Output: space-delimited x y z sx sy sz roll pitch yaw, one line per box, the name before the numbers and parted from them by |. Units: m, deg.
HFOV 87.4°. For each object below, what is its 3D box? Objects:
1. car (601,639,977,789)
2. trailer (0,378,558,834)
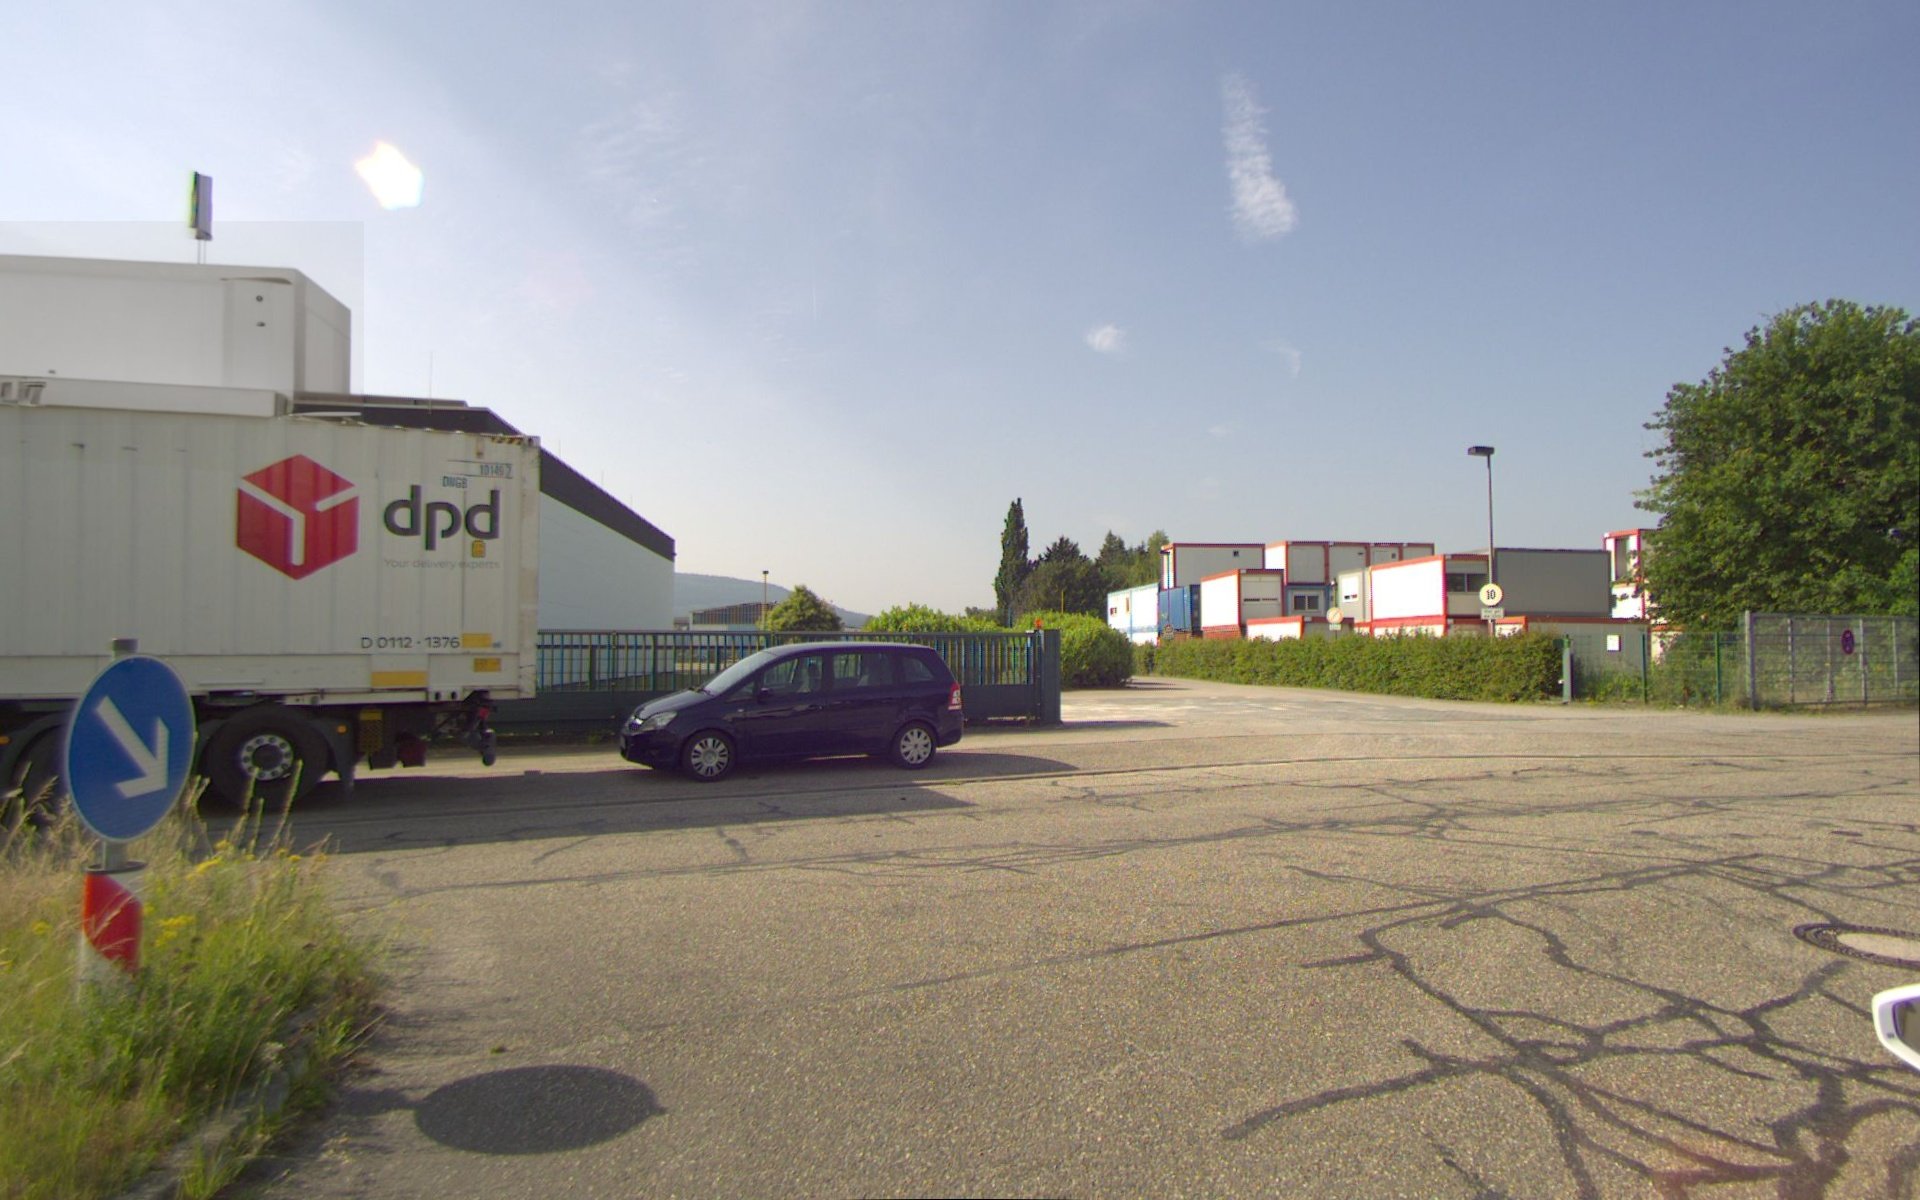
car | -2.226 1.367 13.250 4.528 1.662 1.987 1 -2 -27
trailer | -8.266 0.091 10.291 7.473 3.973 2.692 2 -1 -25
